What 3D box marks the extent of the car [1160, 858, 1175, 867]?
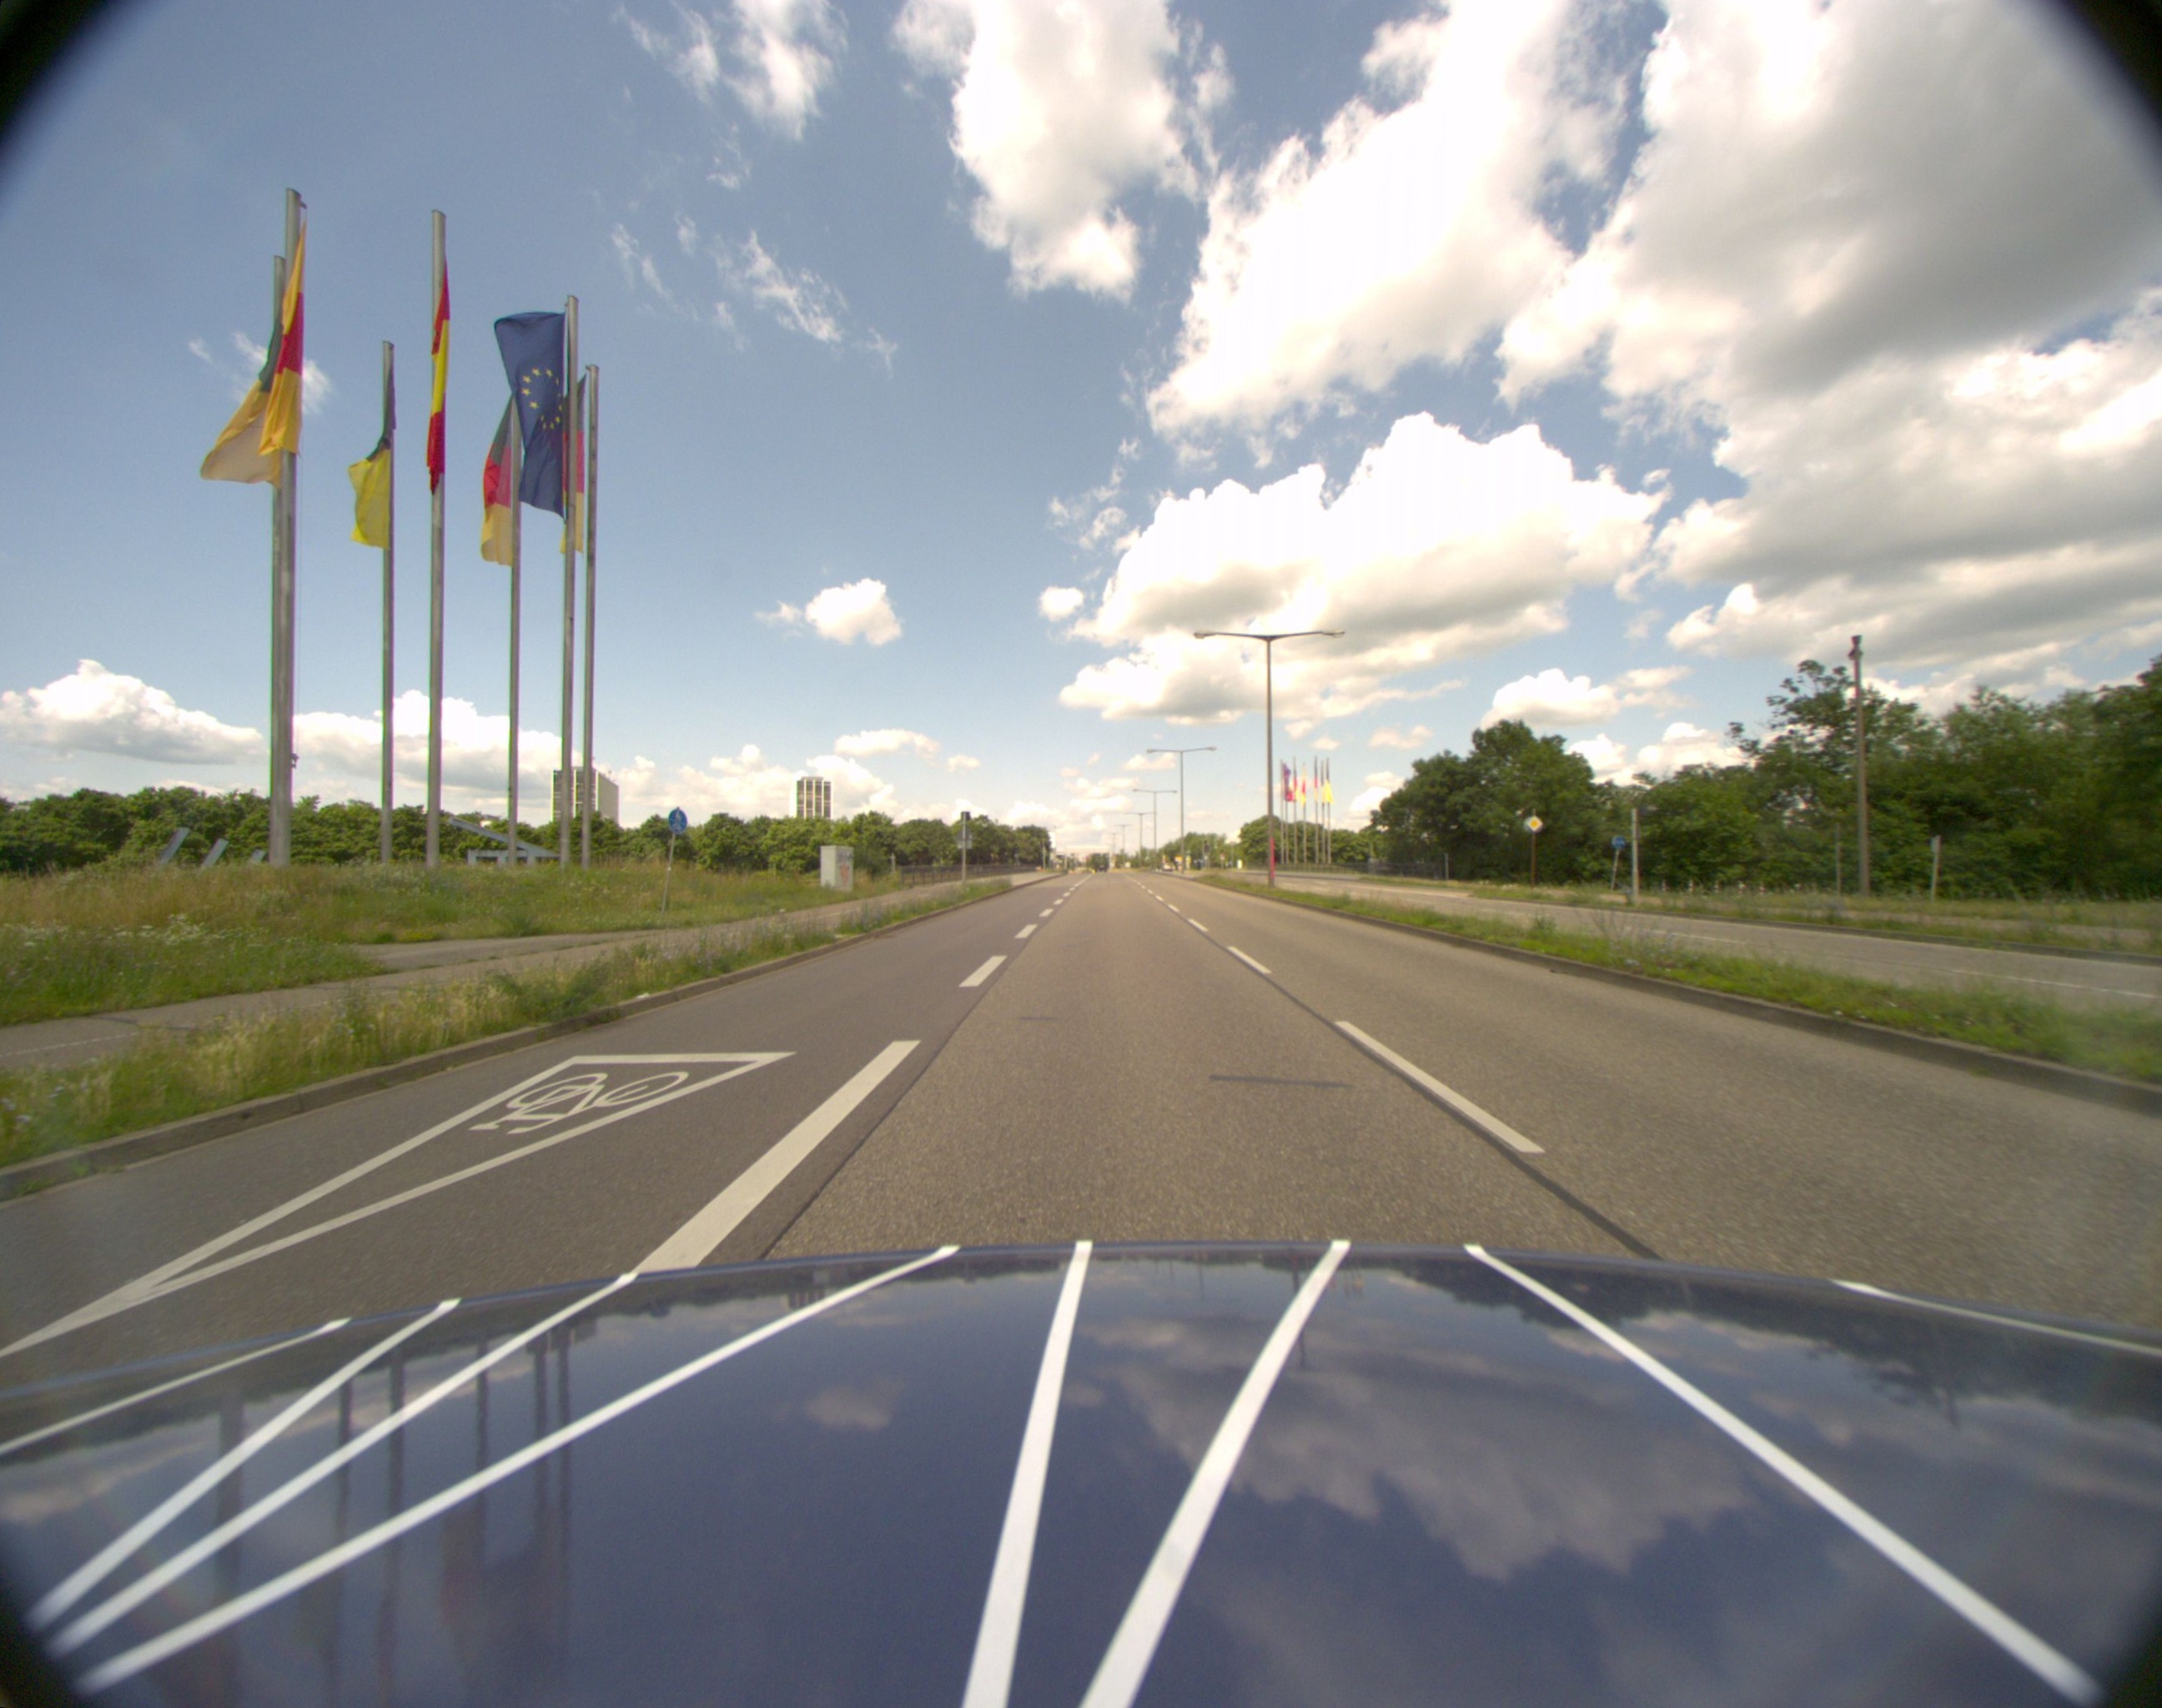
[{"bbox_3d":[17.283,1.730,152.110,2.094,1.616,4.550,5,-1,-1],"label":"car"}]
